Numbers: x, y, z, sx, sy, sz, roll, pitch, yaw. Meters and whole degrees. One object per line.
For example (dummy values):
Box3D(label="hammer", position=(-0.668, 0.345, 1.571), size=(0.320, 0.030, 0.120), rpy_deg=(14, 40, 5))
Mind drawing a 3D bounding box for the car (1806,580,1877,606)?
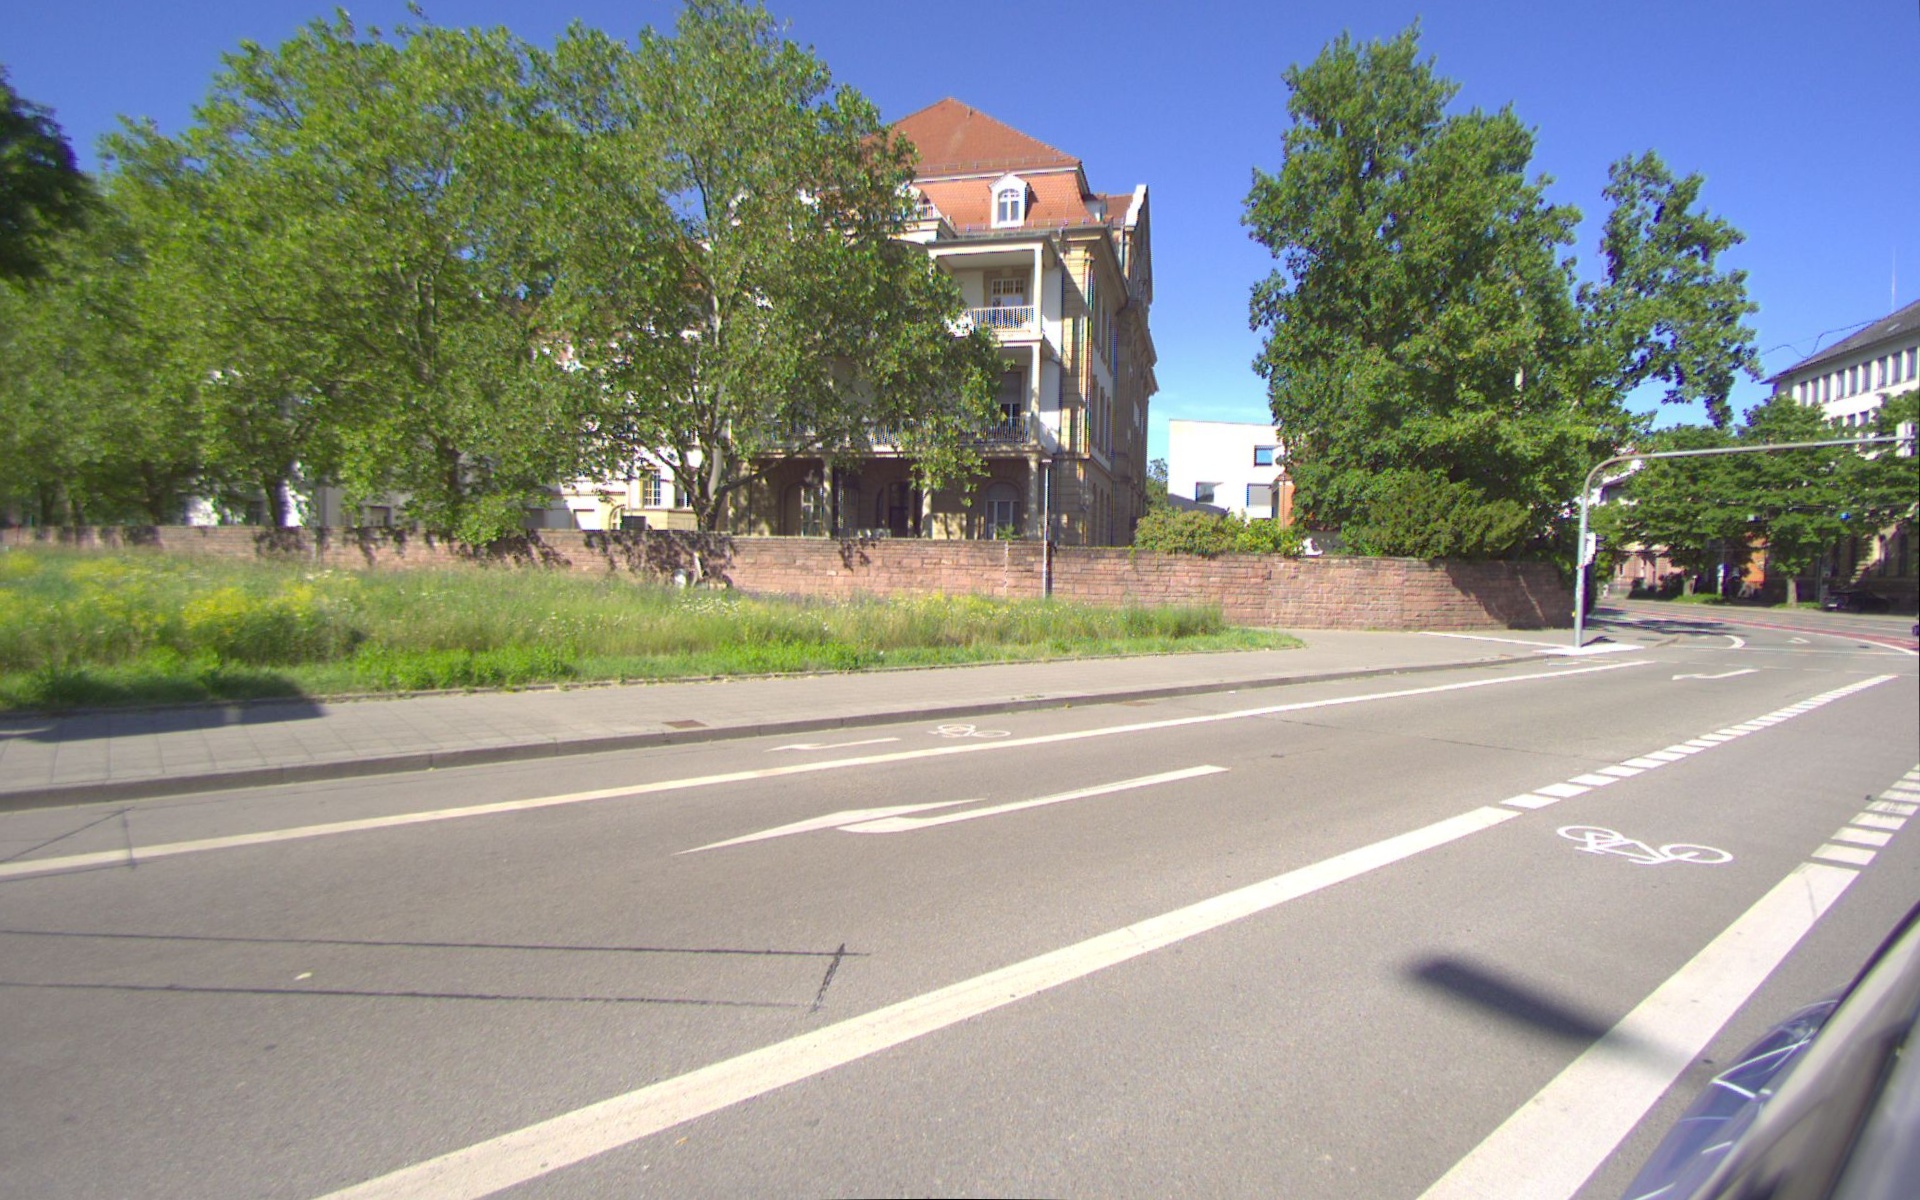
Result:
Box3D(label="car", position=(60.040, -0.519, 69.019), size=(1.806, 1.615, 3.988), rpy_deg=(2, 2, 11))

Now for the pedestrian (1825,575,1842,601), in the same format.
Box3D(label="pedestrian", position=(64.640, -0.907, 74.877), size=(0.568, 1.927, 0.781), rpy_deg=(1, 1, 12))

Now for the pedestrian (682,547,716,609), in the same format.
Box3D(label="pedestrian", position=(-8.083, -0.693, 31.368), size=(0.776, 1.881, 0.627), rpy_deg=(2, 1, 16))
